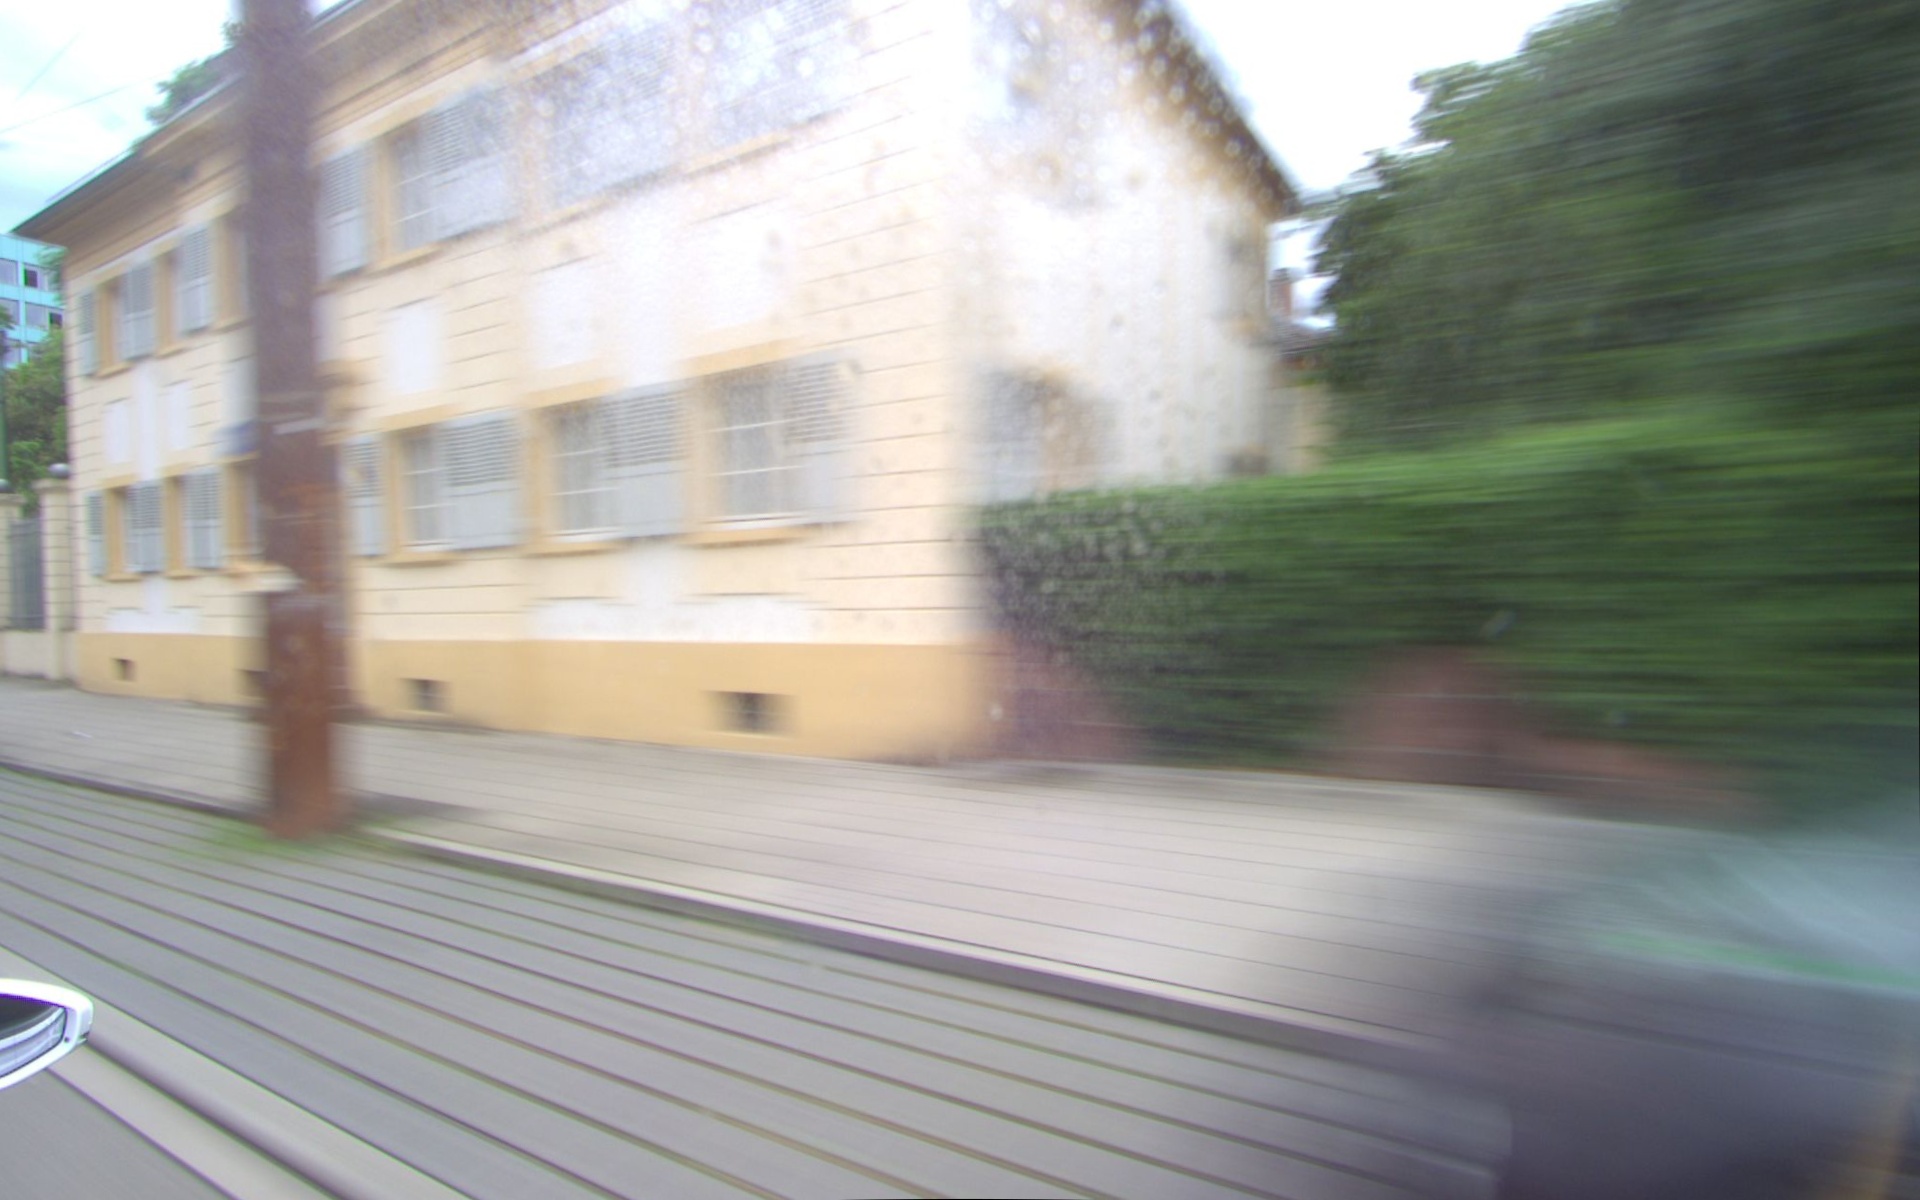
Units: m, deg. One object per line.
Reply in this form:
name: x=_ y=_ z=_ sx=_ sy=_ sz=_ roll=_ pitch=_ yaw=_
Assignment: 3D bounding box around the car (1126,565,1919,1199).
car: x=2.330 y=0.677 z=1.189 sx=3.874 sy=1.453 sz=1.633 roll=-1 pitch=3 yaw=32
